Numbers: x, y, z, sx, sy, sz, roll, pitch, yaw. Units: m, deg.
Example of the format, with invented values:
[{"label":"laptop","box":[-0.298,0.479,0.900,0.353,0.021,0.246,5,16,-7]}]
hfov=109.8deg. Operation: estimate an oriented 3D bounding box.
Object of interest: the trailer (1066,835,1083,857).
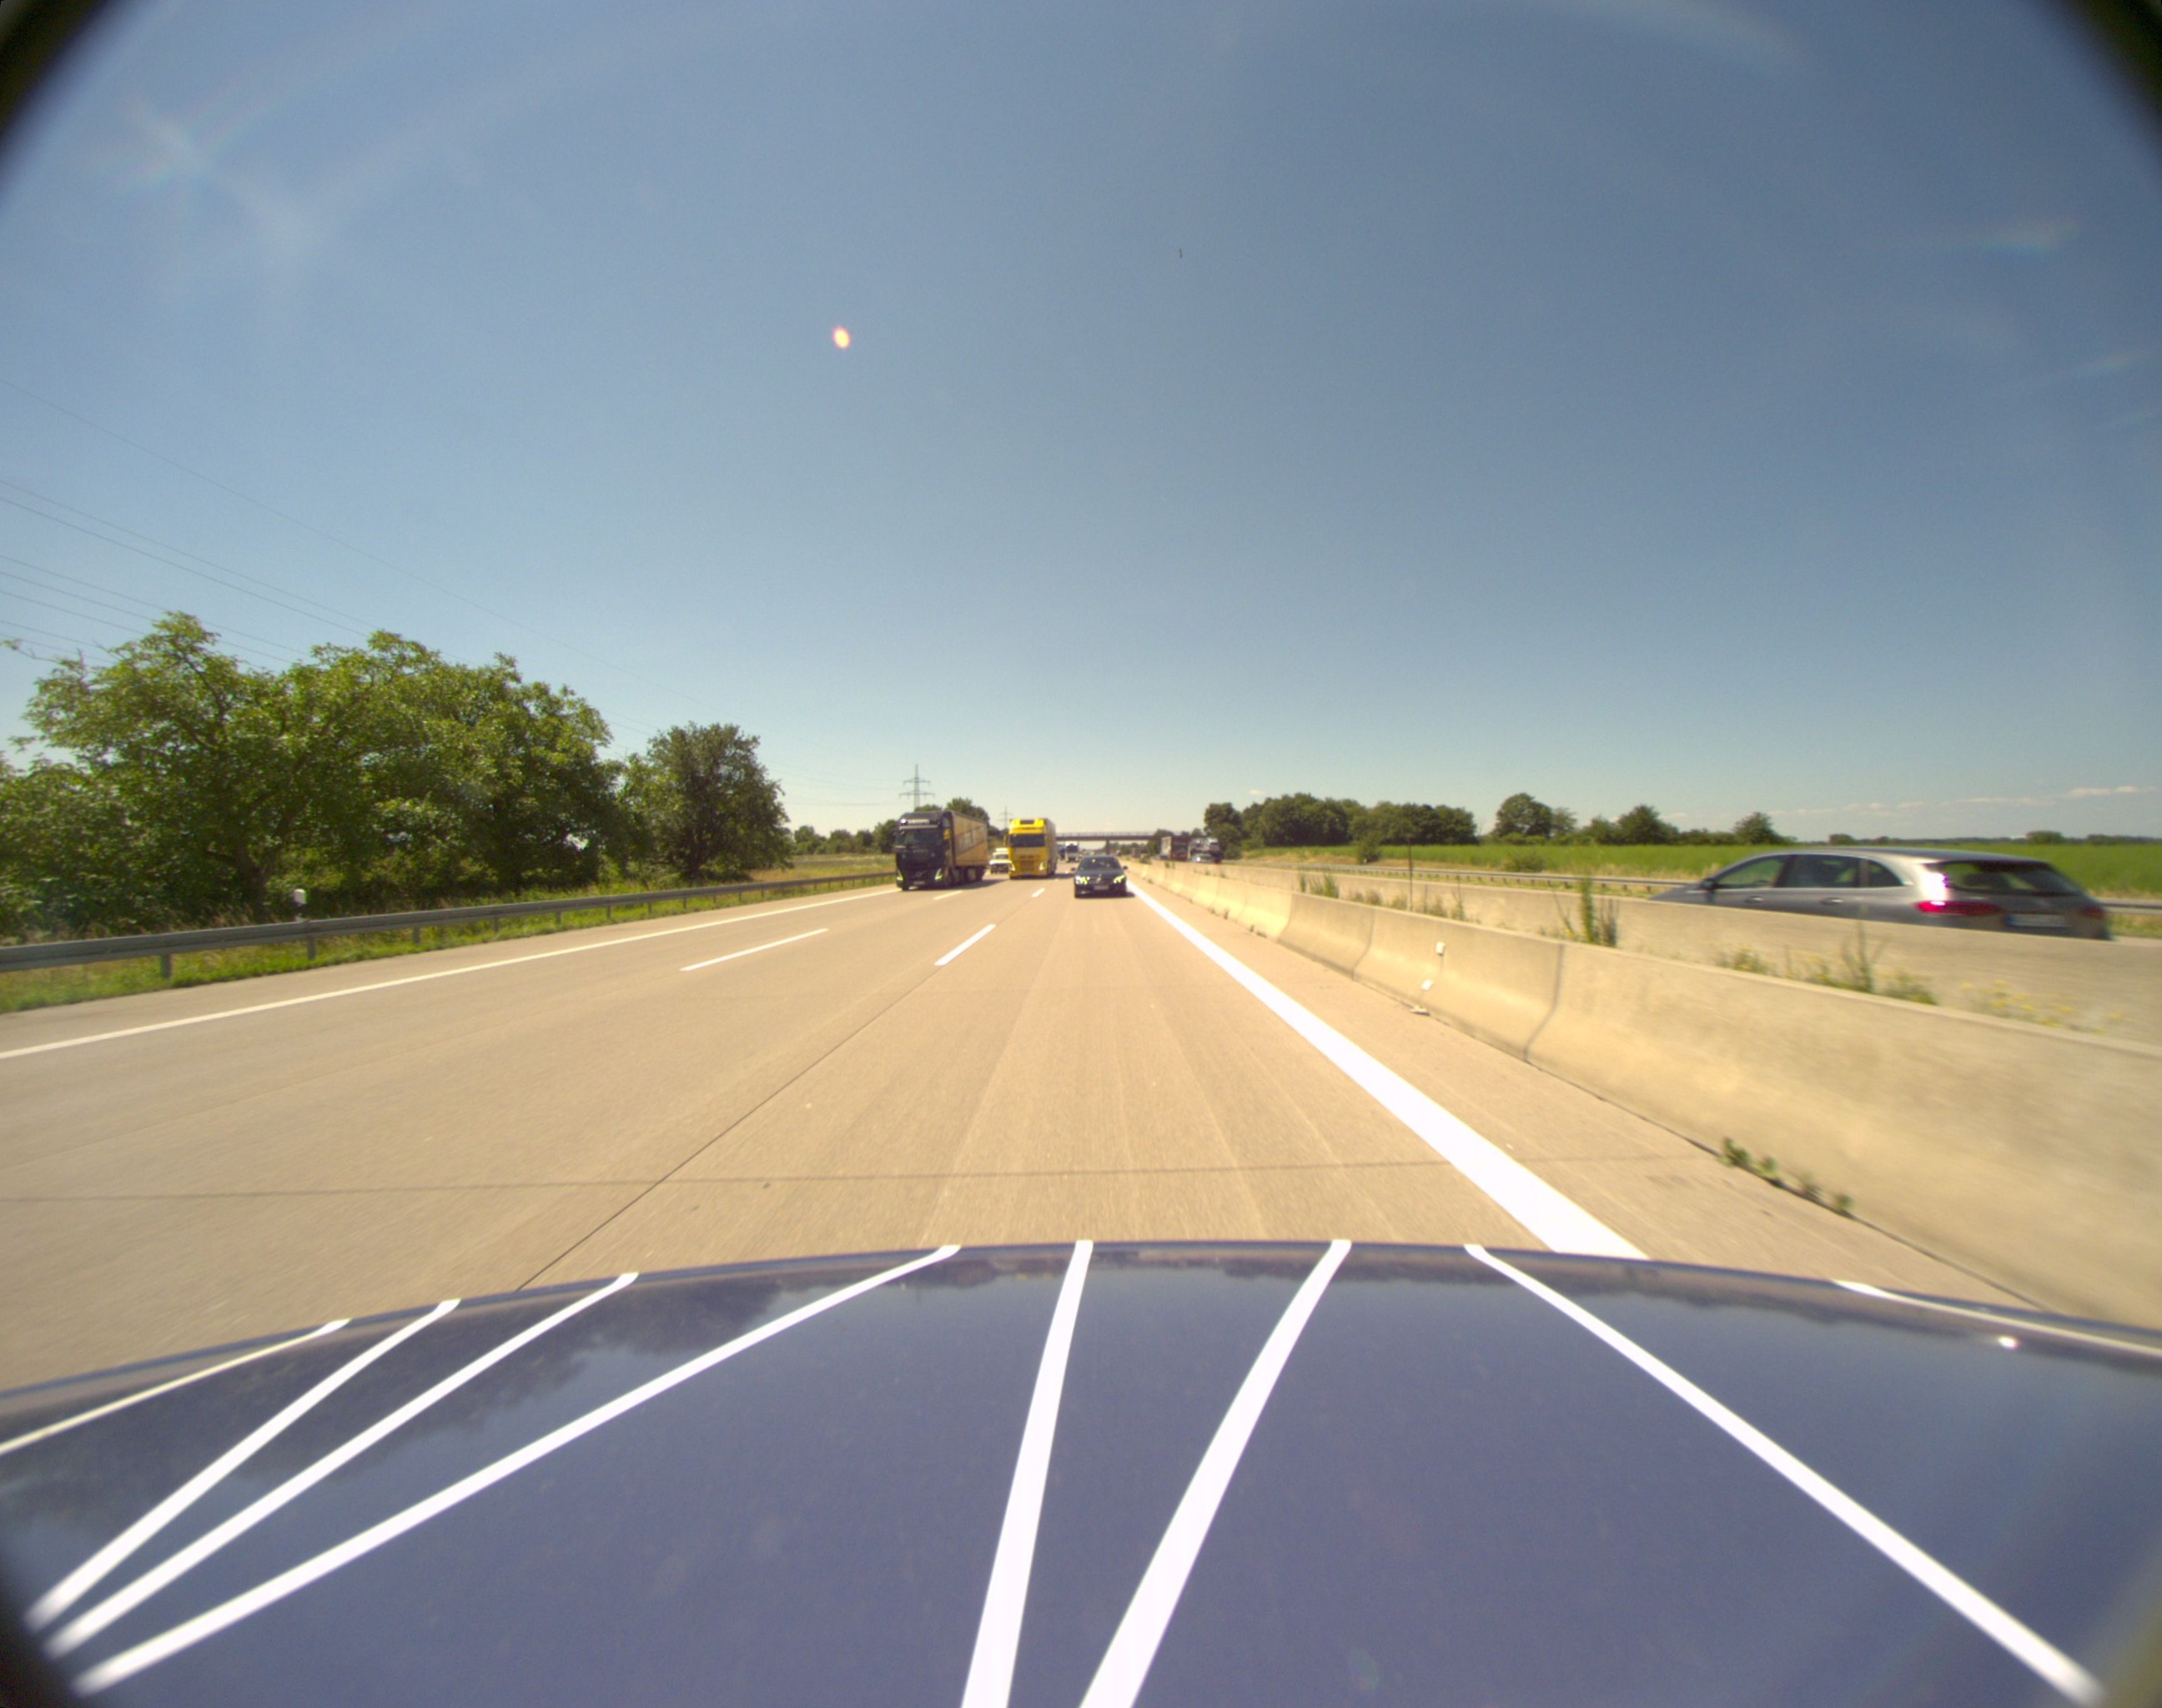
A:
[{"label":"trailer","box":[-1.258,-1.504,151.740,2.959,4.122,12.025,-2,0,1]}]

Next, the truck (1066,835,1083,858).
[{"label":"truck","box":[-1.294,-1.447,146.229,2.959,4.122,6.152,-2,1,1]}]

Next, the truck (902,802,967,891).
[{"label":"truck","box":[-7.383,-0.360,38.920,1.998,4.168,5.706,-2,1,1]}]

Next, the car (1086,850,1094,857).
[{"label":"car","box":[2.618,-0.205,217.413,1.999,1.827,4.815,-2,0,-2]}]

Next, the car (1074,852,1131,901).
[{"label":"car","box":[0.752,0.737,27.349,1.848,1.576,3.940,-2,0,1]}]

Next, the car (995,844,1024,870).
[{"label":"car","box":[-6.951,0.245,74.255,2.139,2.334,5.516,-2,0,1]}]

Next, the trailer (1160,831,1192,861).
[{"label":"trailer","box":[14.611,-1.183,118.362,3.276,4.450,14.450,0,0,1]}]

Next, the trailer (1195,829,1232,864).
[{"label":"trailer","box":[19.075,-1.072,110.379,3.239,4.580,12.293,-2,0,1]}]

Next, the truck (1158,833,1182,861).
[{"label":"truck","box":[14.634,-1.102,125.270,3.276,4.450,7.189,0,1,1]}]

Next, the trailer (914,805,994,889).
[{"label":"trailer","box":[-7.281,-0.403,45.824,1.998,4.168,14.745,-2,0,1]}]

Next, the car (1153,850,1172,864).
[{"label":"car","box":[10.176,0.361,94.860,1.909,1.641,4.933,-2,0,1]}]

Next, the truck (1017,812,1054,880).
[{"label":"truck","box":[-2.974,-0.537,50.773,1.998,4.230,5.194,-2,1,0]}]

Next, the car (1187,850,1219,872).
[{"label":"car","box":[10.054,0.553,63.093,1.887,1.685,4.682,-2,0,1]}]

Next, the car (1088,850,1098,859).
[{"label":"car","box":[2.573,0.059,157.313,1.998,1.780,4.301,-2,0,1]}]

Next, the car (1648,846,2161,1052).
[{"label":"car","box":[8.877,0.808,8.605,1.868,1.719,4.140,-2,0,2]}]

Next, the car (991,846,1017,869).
[{"label":"car","box":[-7.020,0.292,69.551,1.788,2.002,3.819,-2,0,1]}]

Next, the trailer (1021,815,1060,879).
[{"label":"trailer","box":[-2.915,-0.514,58.233,1.998,4.230,15.198,-2,0,0]}]

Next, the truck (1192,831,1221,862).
[{"label":"truck","box":[19.195,-1.103,116.609,3.239,4.580,6.250,-2,1,1]}]
